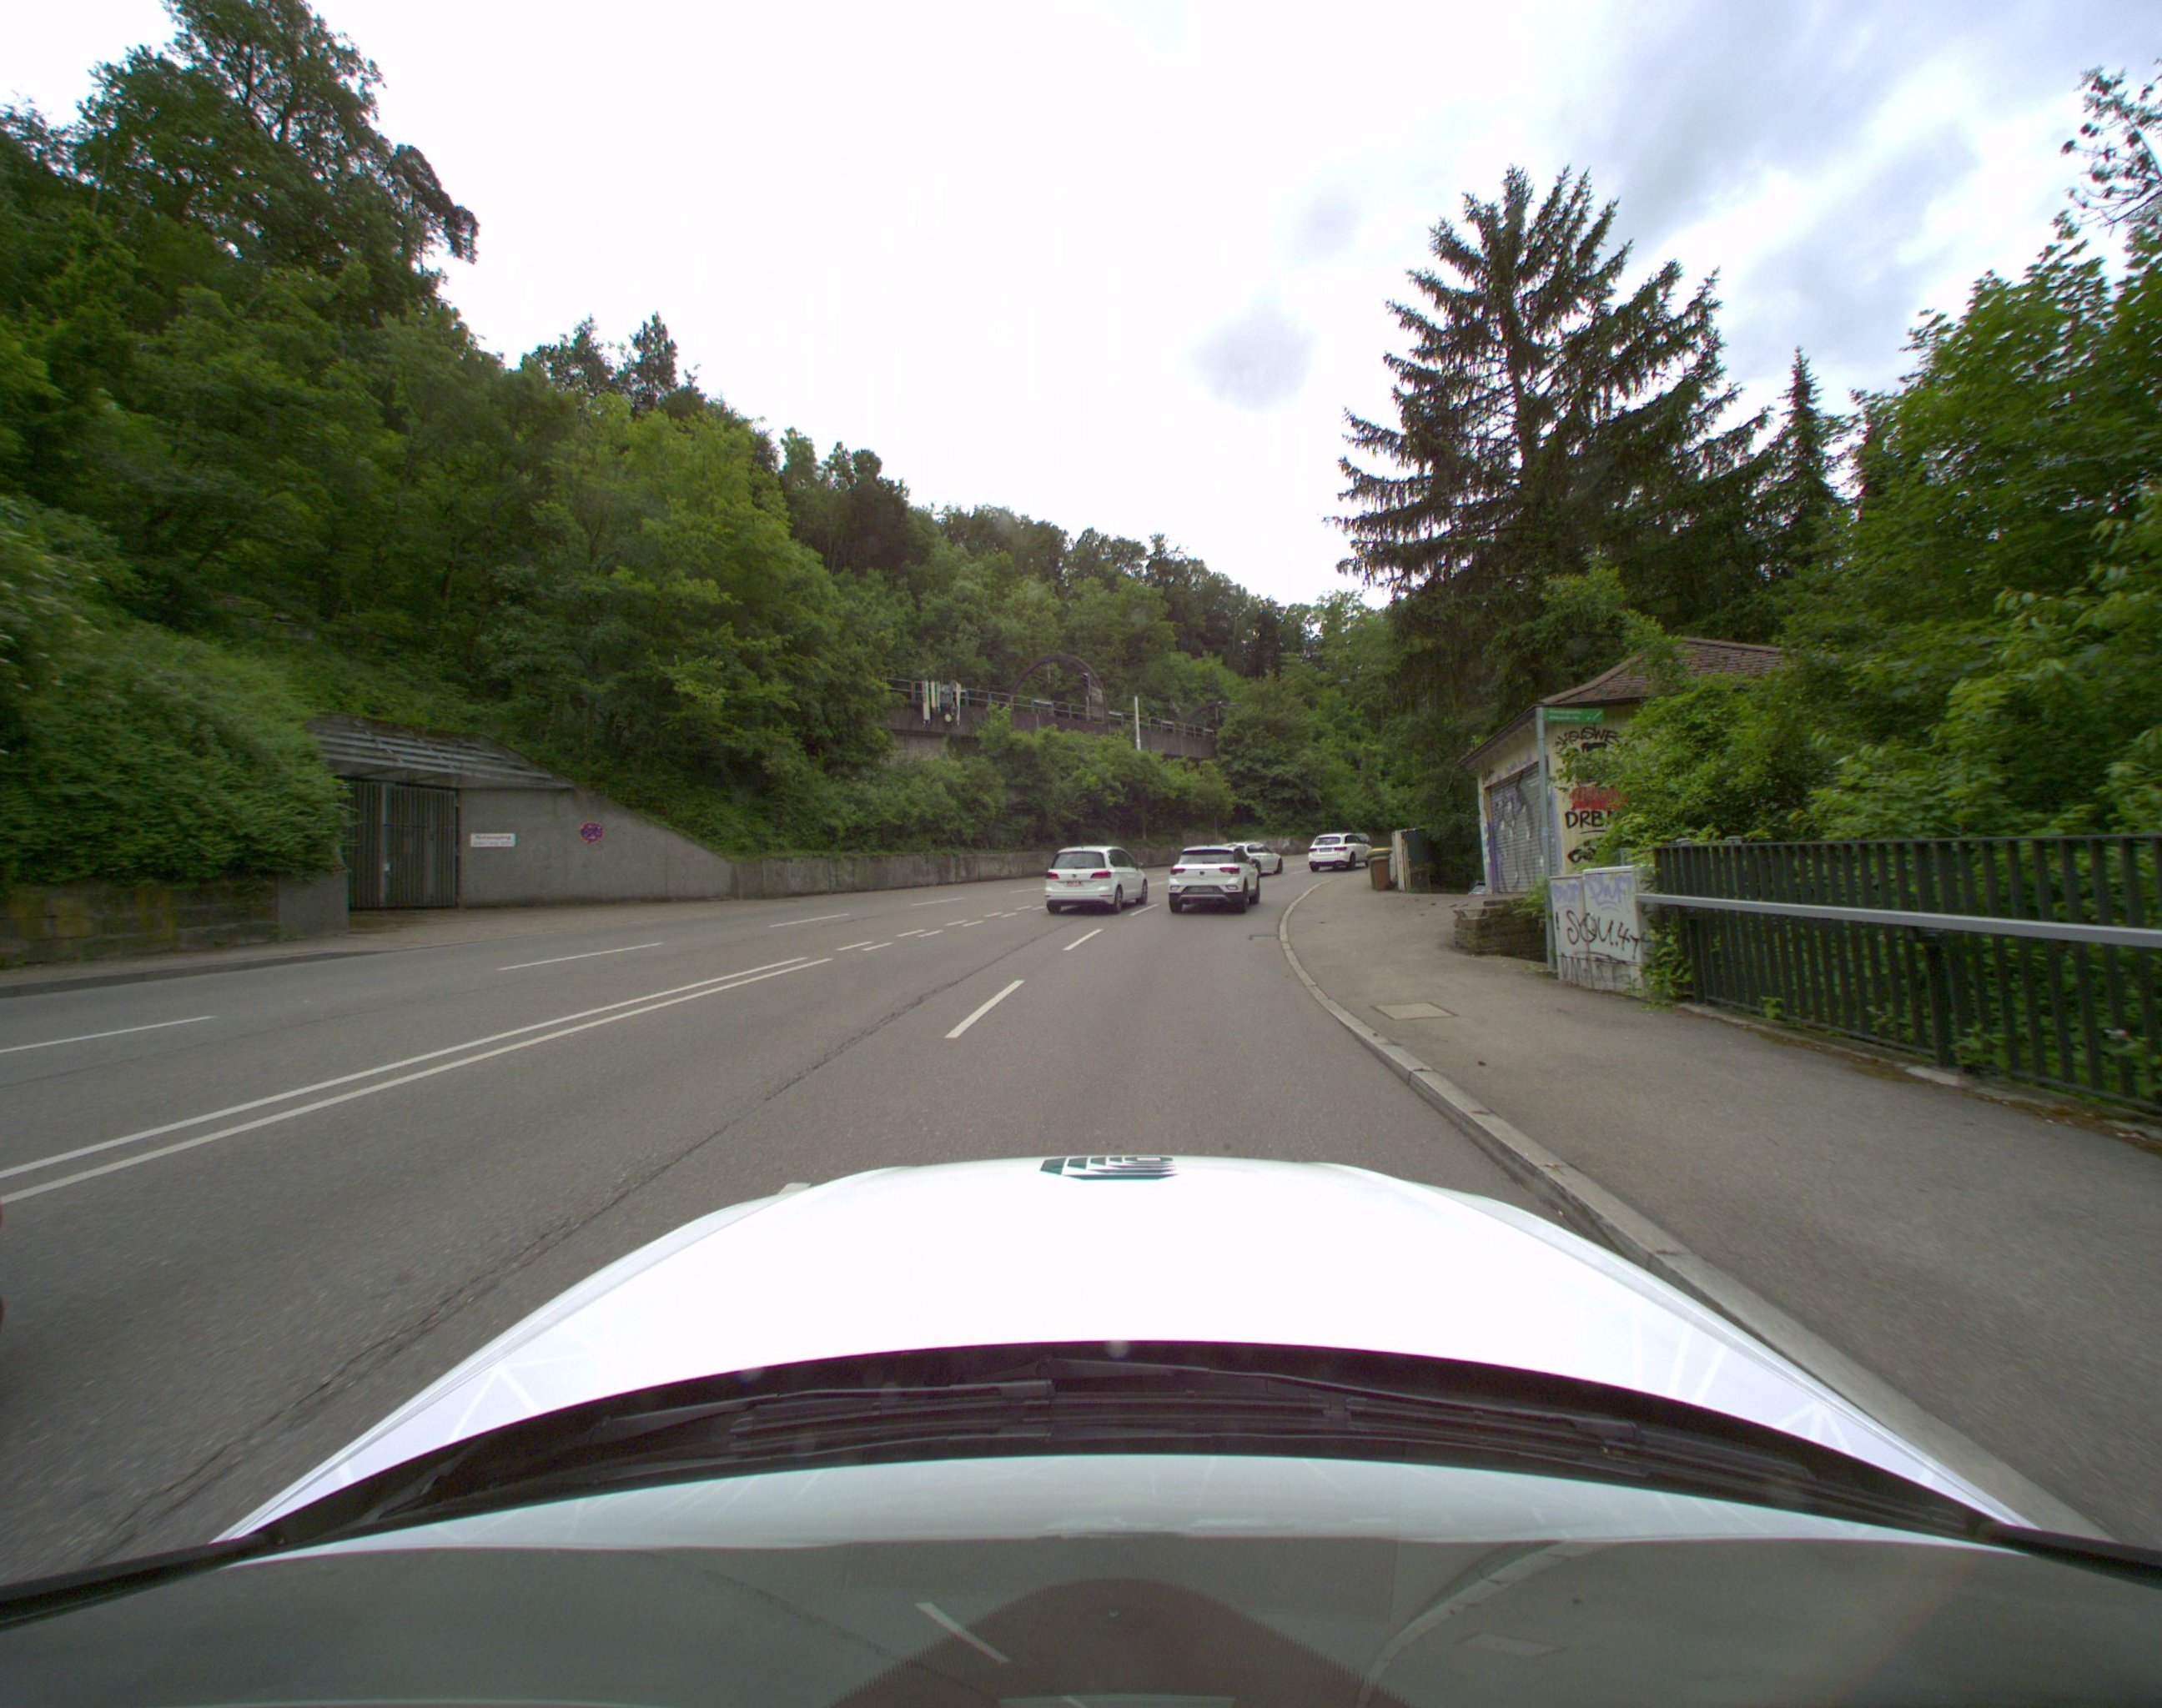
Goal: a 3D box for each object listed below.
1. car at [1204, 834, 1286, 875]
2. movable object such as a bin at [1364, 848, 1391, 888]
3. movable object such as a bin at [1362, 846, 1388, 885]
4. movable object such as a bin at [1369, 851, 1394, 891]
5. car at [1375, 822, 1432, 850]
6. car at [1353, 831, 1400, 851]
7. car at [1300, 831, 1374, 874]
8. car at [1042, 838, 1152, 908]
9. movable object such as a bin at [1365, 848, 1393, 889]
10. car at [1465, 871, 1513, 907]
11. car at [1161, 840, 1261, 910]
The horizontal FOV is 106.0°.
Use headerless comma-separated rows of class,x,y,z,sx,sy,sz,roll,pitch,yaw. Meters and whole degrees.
car,7.013,-0.027,34.435,1.975,1.557,4.710,2,2,30
movable object such as a bin,8.426,0.389,23.159,0.599,1.060,0.482,-6,1,16
movable object such as a bin,8.546,0.333,23.691,0.599,1.060,0.482,-6,1,16
movable object such as a bin,8.142,0.450,22.076,0.496,1.008,0.442,-6,1,16
car,21.918,-1.204,55.281,4.330,1.519,1.726,4,-4,-40
car,23.675,-1.036,65.151,4.023,1.486,1.891,-2,0,-43
car,11.551,-0.038,36.621,1.974,1.843,4.176,-1,-1,35
car,0.535,0.501,20.504,1.707,1.555,4.292,0,-2,16
movable object such as a bin,8.266,0.409,22.603,0.599,1.060,0.482,-6,1,16
car,16.997,1.500,34.065,1.710,1.400,4.022,0,-4,25
car,3.298,0.513,20.065,1.799,1.539,4.026,-1,-1,18
